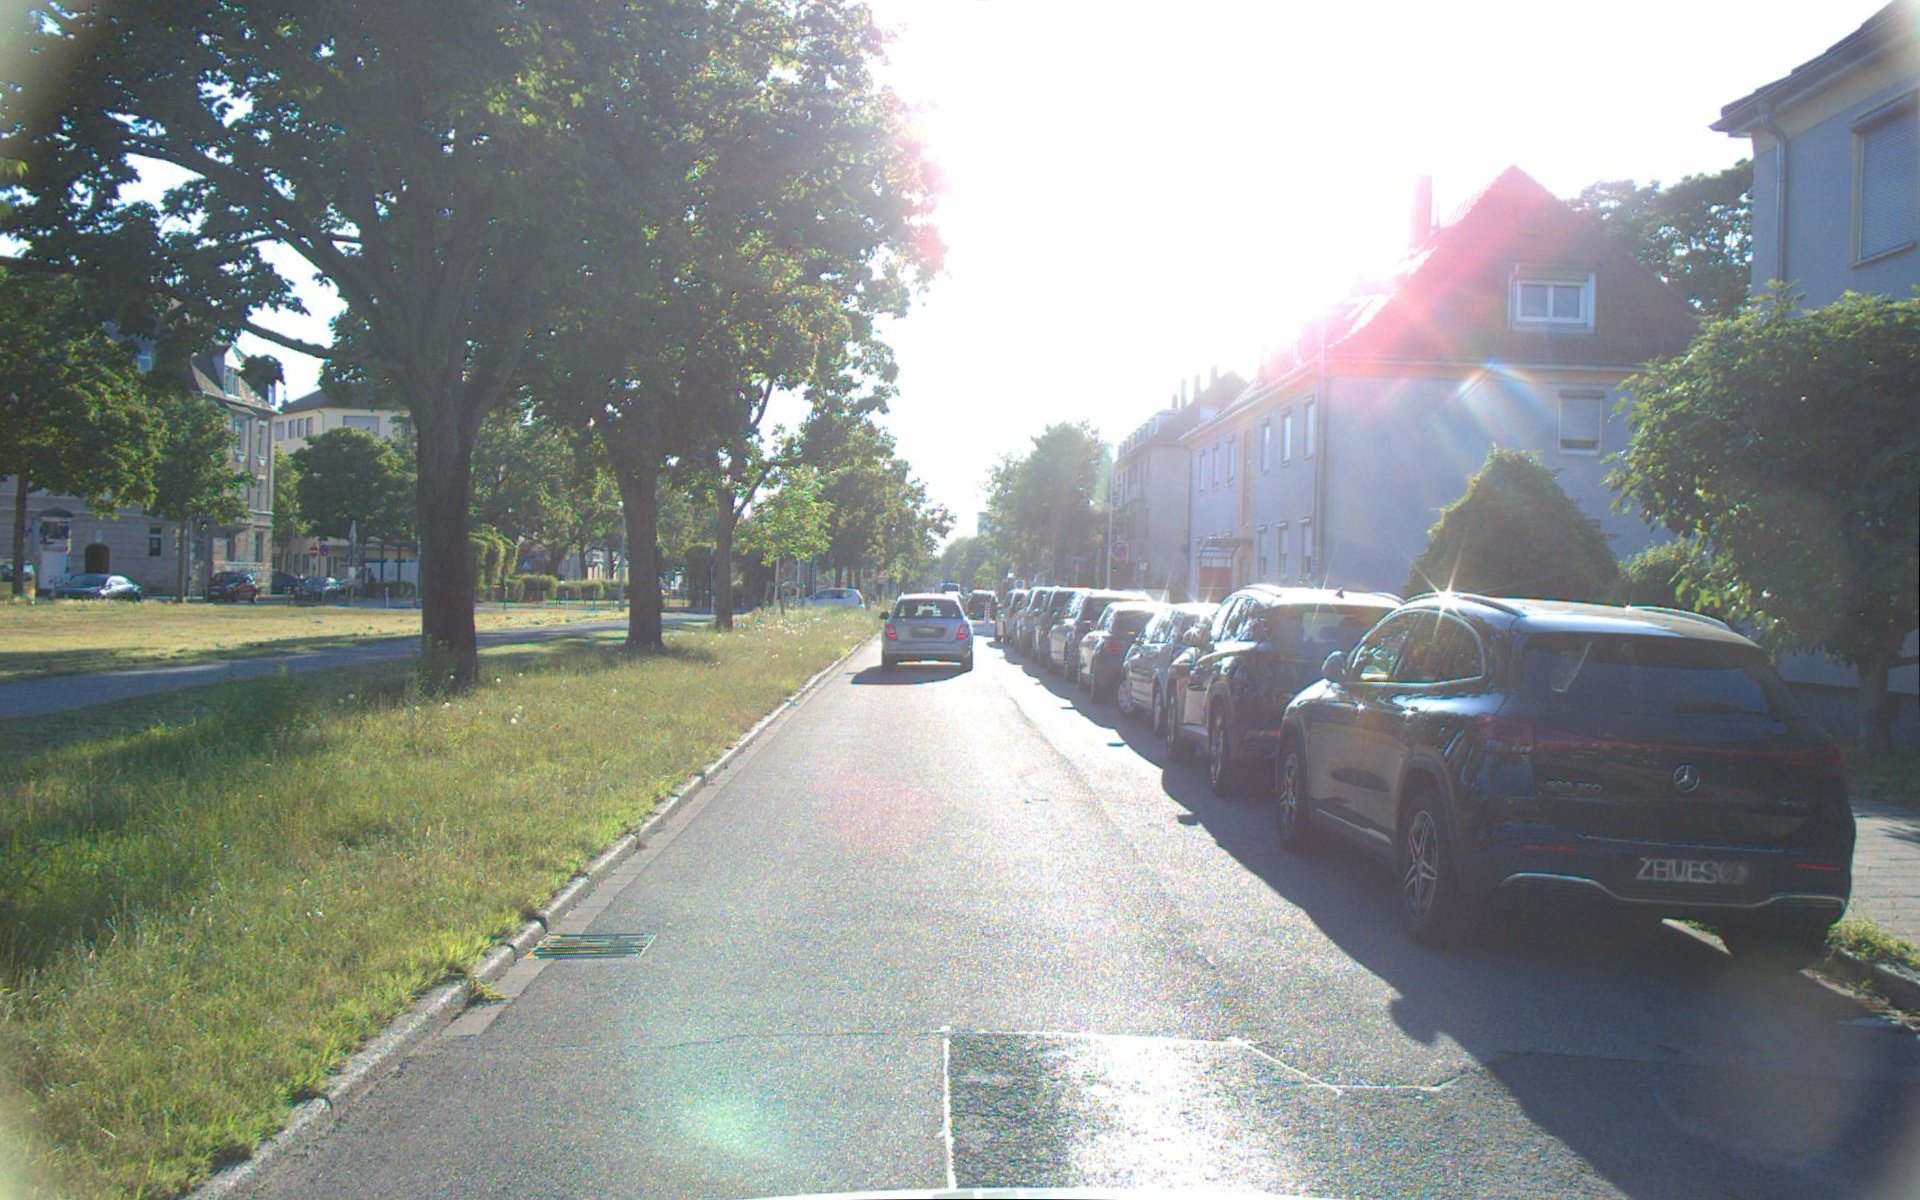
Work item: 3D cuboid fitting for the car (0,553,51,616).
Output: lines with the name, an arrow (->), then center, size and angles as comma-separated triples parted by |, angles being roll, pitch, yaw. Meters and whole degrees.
car -> -34.221, -0.529, 57.958 | 1.953, 2.093, 5.051 | -2, -1, -1

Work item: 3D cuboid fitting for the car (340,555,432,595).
car -> -43.498, -1.887, 125.402 | 6.233, 2.767, 1.981 | 2, 0, -32

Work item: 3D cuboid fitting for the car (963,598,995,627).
car -> 1.088, 0.732, 95.229 | 1.686, 1.625, 3.999 | 1, -1, -1

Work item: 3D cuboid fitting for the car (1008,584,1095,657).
car -> 2.221, 0.504, 41.292 | 1.741, 1.672, 4.755 | 1, 0, -2

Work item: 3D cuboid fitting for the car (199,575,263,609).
car -> -40.394, -0.409, 91.771 | 1.610, 1.737, 4.293 | -2, -1, 0

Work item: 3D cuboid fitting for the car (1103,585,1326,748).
car -> 2.928, 0.742, 19.941 | 1.694, 1.575, 4.205 | 6, -1, -3

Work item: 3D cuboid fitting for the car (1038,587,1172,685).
car -> 2.549, 0.605, 30.054 | 1.691, 1.588, 4.413 | 2, 0, -4

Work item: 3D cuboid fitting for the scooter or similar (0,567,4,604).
scooter or similar -> -29.939, -0.458, 50.914 | 0.385, 1.146, 1.294 | 3, -1, -9

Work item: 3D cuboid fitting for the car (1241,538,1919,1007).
car -> 2.978, 0.692, 8.970 | 1.894, 1.750, 4.620 | 4, 0, -2

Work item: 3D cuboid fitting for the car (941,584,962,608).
car -> -0.798, -0.366, 153.540 | 1.948, 2.059, 3.999 | 2, 0, -1

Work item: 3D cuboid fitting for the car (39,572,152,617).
car -> -34.639, -0.194, 66.460 | 1.943, 1.666, 4.828 | -2, -1, 0

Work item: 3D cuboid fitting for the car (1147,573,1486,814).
car -> 2.893, 0.677, 14.553 | 1.816, 1.686, 4.819 | 3, 0, -1

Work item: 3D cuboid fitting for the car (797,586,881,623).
car -> -5.852, 0.215, 80.108 | 3.812, 1.624, 2.000 | -2, -1, 2

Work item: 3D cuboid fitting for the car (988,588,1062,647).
car -> 1.969, 0.523, 51.479 | 1.683, 1.667, 4.559 | 4, 0, -5

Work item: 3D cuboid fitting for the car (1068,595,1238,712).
car -> 2.787, 0.735, 24.882 | 1.953, 1.487, 4.561 | 3, 0, 0

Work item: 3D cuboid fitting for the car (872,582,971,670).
car -> -0.723, 0.457, 32.028 | 1.786, 1.594, 3.999 | 1, 0, -1

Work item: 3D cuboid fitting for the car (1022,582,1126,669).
car -> 2.397, 0.546, 35.860 | 1.730, 1.663, 4.762 | 3, -1, -2
